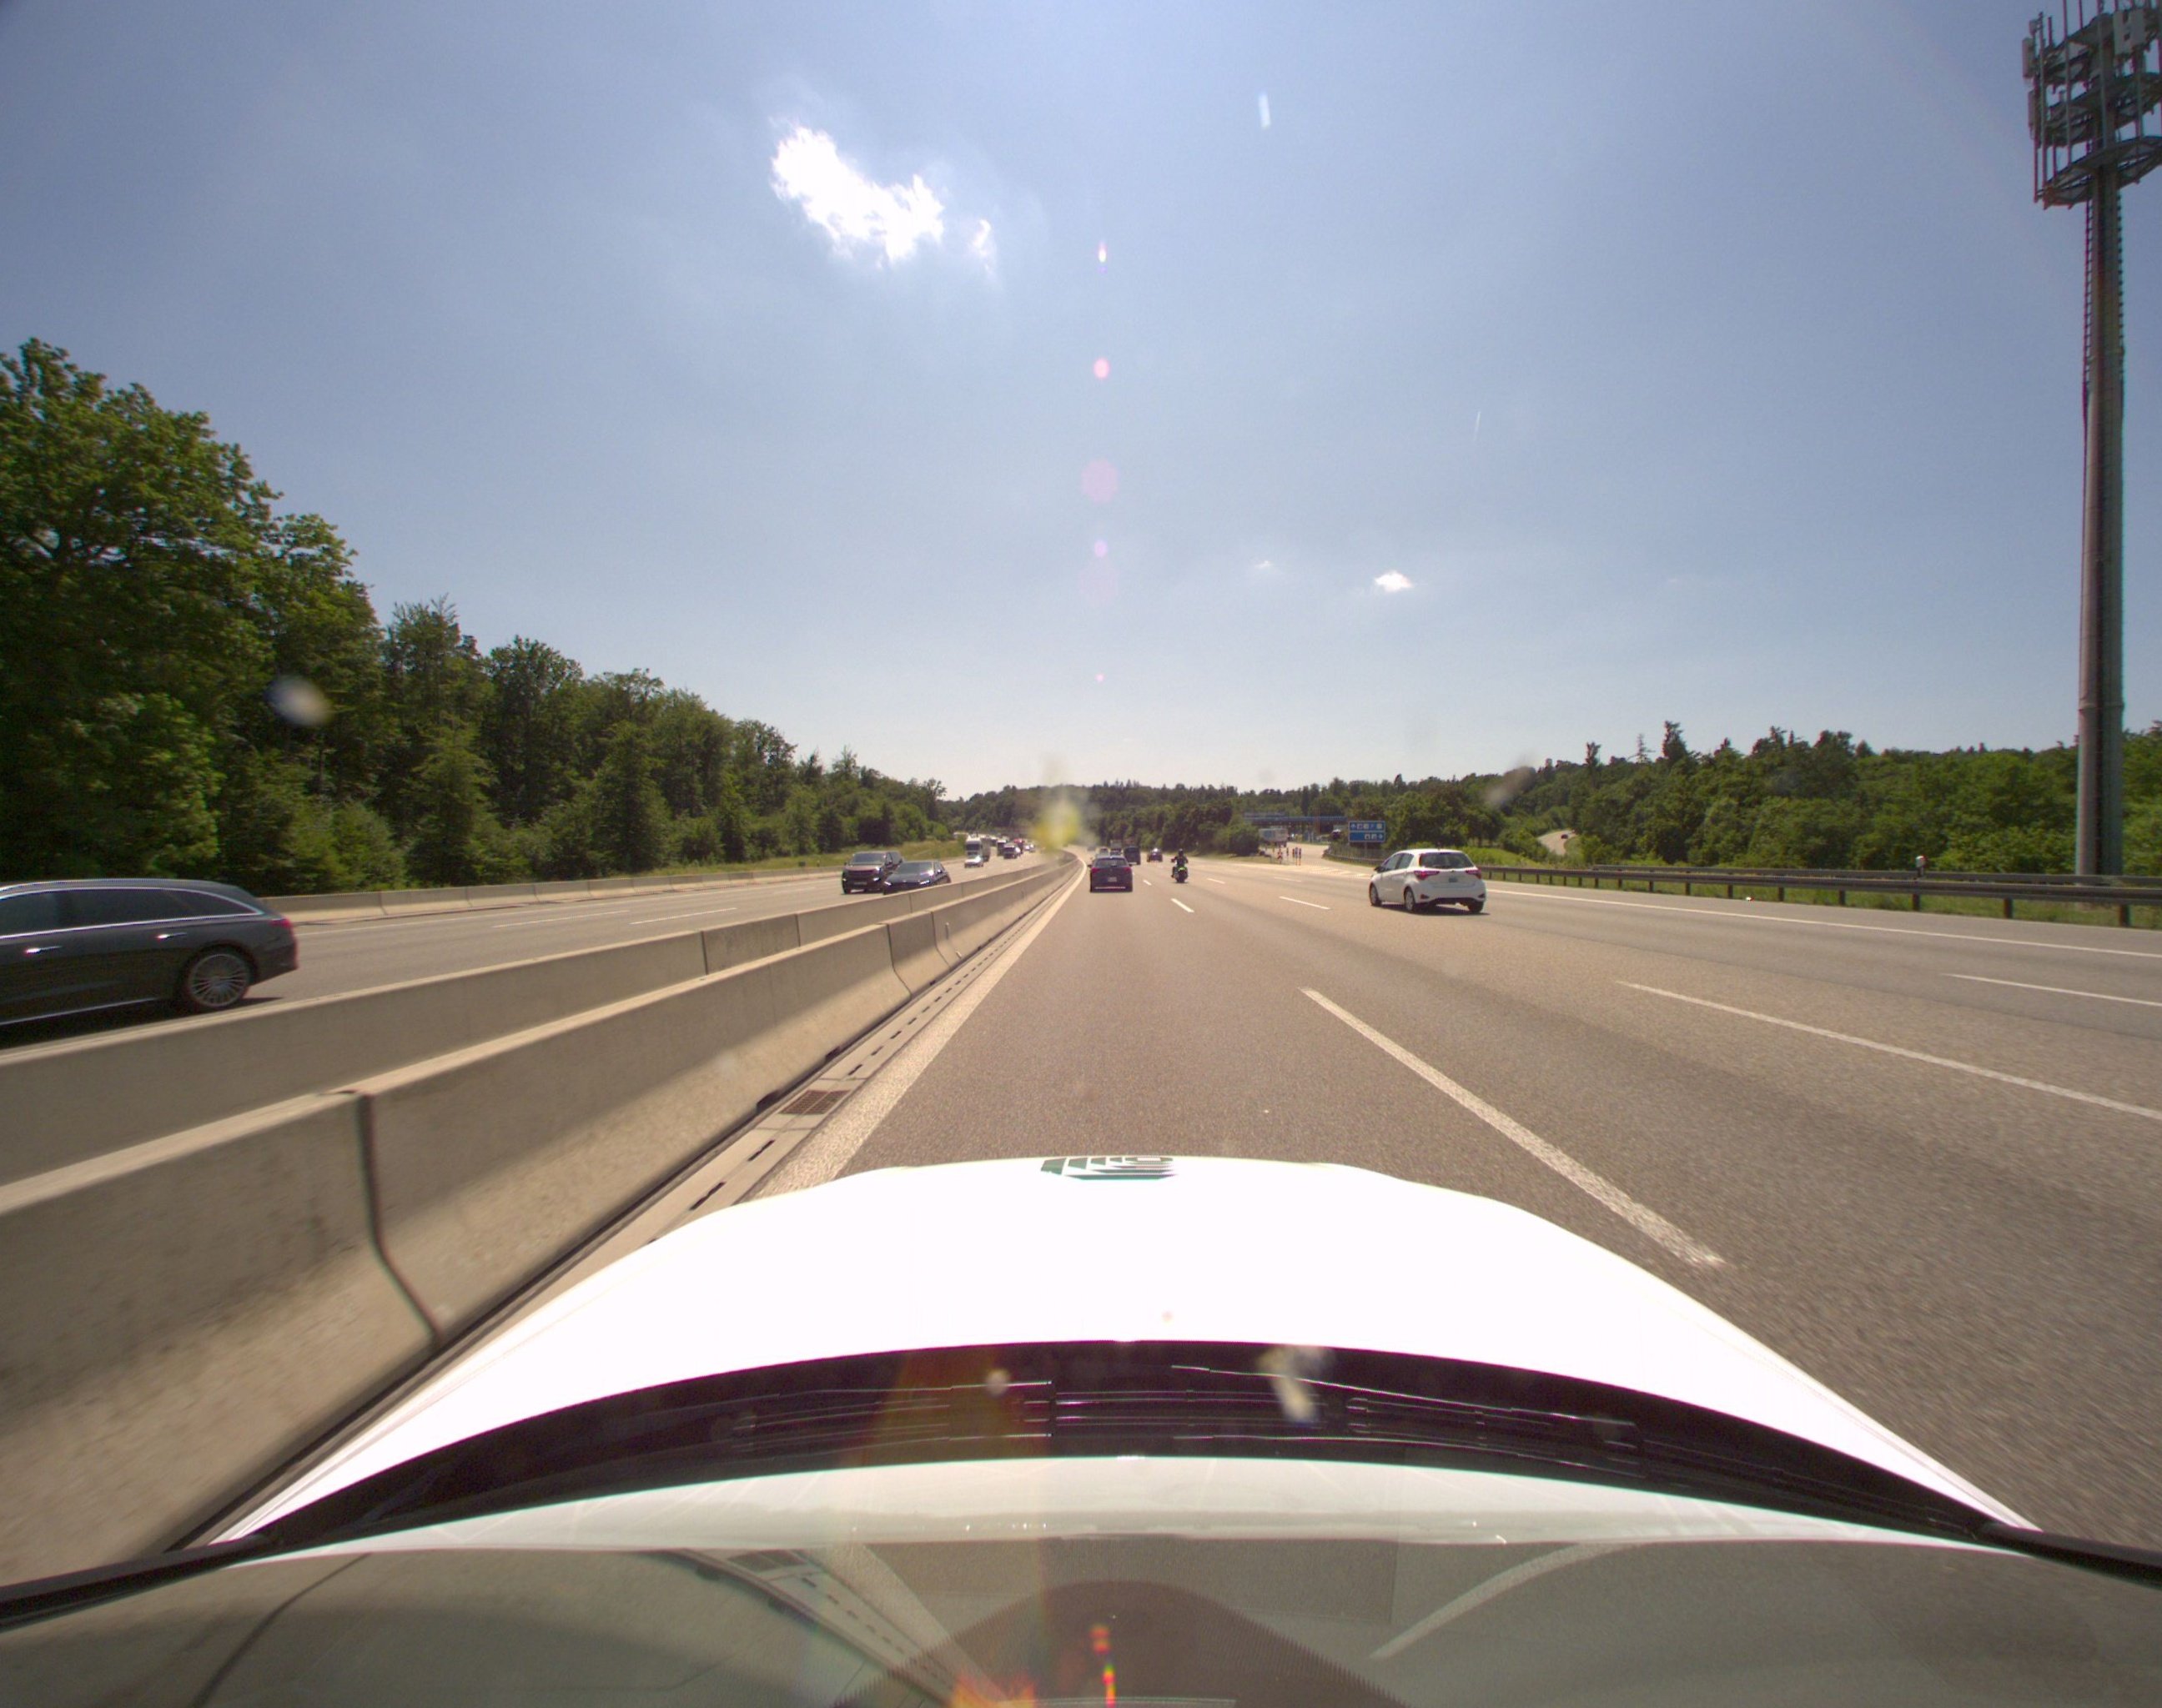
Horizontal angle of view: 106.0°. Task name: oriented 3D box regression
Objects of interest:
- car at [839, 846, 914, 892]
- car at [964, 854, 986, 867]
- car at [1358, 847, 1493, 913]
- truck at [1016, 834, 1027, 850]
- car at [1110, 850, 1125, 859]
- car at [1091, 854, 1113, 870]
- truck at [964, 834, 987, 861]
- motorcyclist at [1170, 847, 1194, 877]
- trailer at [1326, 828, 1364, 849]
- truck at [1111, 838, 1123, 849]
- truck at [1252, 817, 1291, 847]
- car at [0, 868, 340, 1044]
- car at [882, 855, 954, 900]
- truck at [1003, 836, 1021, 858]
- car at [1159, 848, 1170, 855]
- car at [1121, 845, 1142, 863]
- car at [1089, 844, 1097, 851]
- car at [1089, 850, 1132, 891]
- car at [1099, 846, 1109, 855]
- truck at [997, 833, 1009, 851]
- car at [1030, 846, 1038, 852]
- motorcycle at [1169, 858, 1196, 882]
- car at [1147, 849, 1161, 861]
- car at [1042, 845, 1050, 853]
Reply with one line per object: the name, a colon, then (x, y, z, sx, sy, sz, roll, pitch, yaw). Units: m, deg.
car: (-9.480, 0.659, 38.269, 1.865, 1.940, 5.776, -1, 0, 2)
car: (-12.489, 0.746, 96.450, 1.865, 1.480, 4.815, 0, 0, 1)
car: (8.412, 0.582, 20.314, 1.659, 1.433, 4.378, -1, 0, 3)
truck: (-16.262, -3.349, 221.690, 2.494, 4.350, 6.603, -1, 1, -1)
car: (5.386, 0.082, 120.209, 1.837, 1.222, 4.223, 2, 1, -1)
car: (1.788, 0.659, 70.408, 1.777, 1.265, 3.459, -1, 0, 0)
truck: (-16.831, -0.976, 130.160, 2.673, 4.177, 6.232, -1, 0, 1)
motorcyclist: (4.955, 0.379, 40.036, 0.959, 1.437, 1.234, -1, 1, -1)
trailer: (51.044, -3.115, 156.999, 3.128, 3.636, 13.710, -1, 2, 35)
truck: (9.318, -2.763, 210.179, 2.718, 2.786, 5.681, 2, 1, -1)
truck: (43.280, -4.874, 185.758, 5.487, 6.266, 15.437, -1, 0, 2)
car: (-10.330, 0.938, 7.680, 1.865, 1.476, 5.114, -1, 0, 2)
car: (-5.867, 0.798, 29.799, 1.595, 1.468, 4.507, -1, 0, 2)
truck: (-13.845, -1.355, 163.913, 2.522, 4.177, 9.621, -1, 0, 1)
car: (13.946, -0.392, 135.629, 1.602, 1.212, 3.461, -1, 0, 2)
car: (5.523, -0.011, 90.052, 2.089, 1.851, 4.082, -1, 0, 1)
car: (3.497, -1.892, 240.211, 1.988, 2.013, 4.673, 2, 1, -1)
car: (1.255, 0.631, 33.166, 1.617, 1.487, 3.689, -1, 1, 3)
car: (4.714, -0.651, 167.011, 1.988, 1.683, 4.422, 2, 1, -1)
truck: (-19.649, -3.081, 206.094, 2.494, 4.350, 6.602, -1, 1, -2)
car: (-13.854, -1.433, 240.937, 1.987, 1.548, 4.880, -1, 1, 0)
motorcycle: (4.985, 0.766, 40.073, 0.974, 1.129, 2.270, -1, 0, -1)
car: (9.212, 0.135, 102.847, 1.668, 1.431, 3.688, 1, 0, 3)
car: (-9.735, -1.438, 228.506, 1.987, 2.288, 5.764, -1, 1, 0)
